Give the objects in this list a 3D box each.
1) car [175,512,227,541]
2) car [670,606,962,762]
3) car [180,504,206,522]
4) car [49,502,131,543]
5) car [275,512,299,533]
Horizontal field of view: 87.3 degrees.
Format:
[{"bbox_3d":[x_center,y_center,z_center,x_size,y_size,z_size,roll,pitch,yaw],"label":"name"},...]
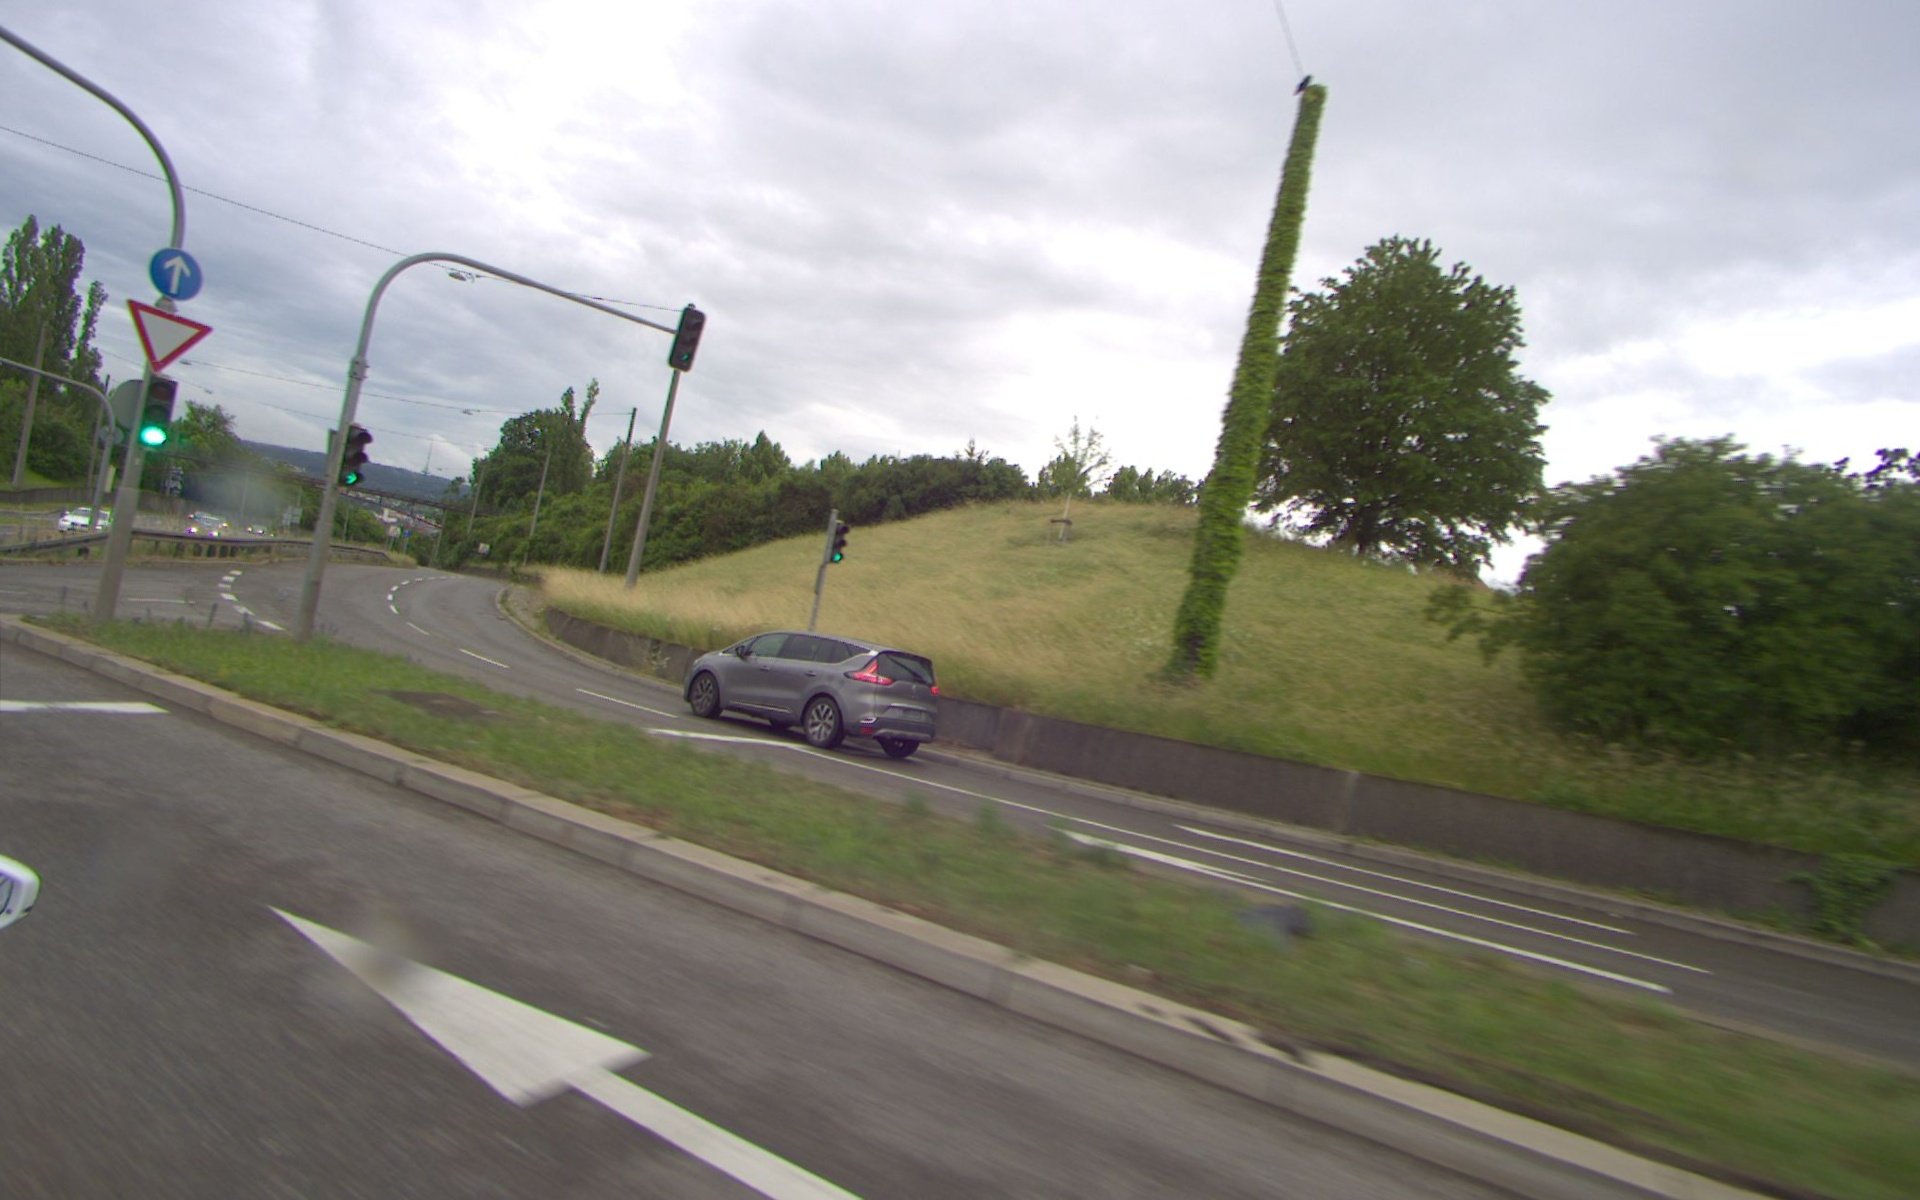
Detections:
[{"bbox_3d":[-56.011,-5.431,74.349,1.979,1.635,4.343,12,-2,-25],"label":"car"},{"bbox_3d":[-2.377,1.261,15.869,4.557,1.665,1.728,6,-5,39],"label":"car"},{"bbox_3d":[-91.618,-10.444,120.127,1.869,1.672,4.088,12,-2,-33],"label":"car"},{"bbox_3d":[-45.014,-4.006,52.165,1.979,1.635,3.974,12,-2,-25],"label":"car"},{"bbox_3d":[-83.395,-9.621,124.681,2.064,2.106,4.332,12,-1,-33],"label":"car"}]
